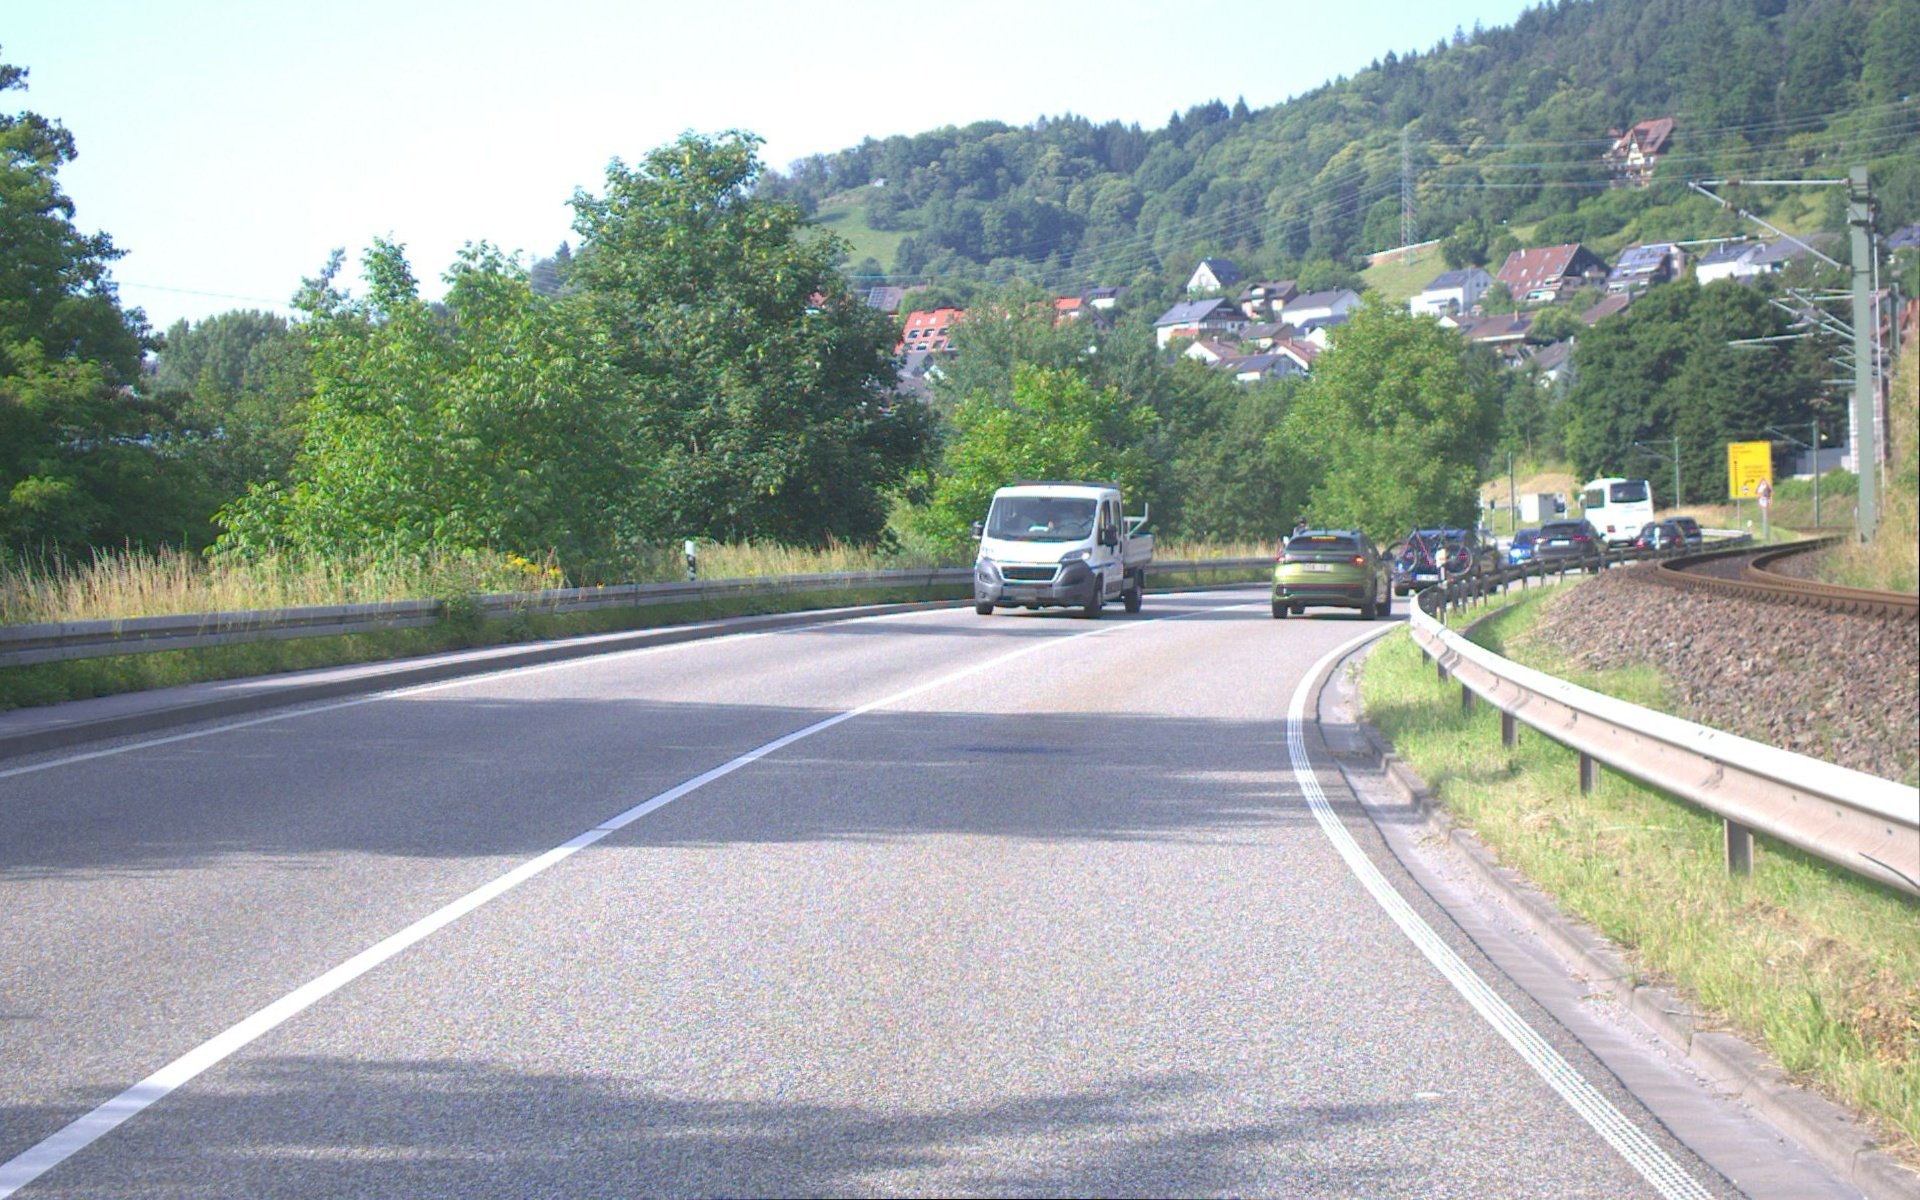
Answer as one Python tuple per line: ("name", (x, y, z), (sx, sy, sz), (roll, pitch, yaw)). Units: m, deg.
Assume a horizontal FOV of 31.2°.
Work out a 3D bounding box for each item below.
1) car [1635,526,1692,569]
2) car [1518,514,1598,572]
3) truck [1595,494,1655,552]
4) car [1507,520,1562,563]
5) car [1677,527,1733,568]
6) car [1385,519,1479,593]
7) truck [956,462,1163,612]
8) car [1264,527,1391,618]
("car", (25.613, -1.918, 125.126), (1.850, 1.521, 3.660), (0, 1, 14))
("car", (17.654, -1.689, 101.428), (1.881, 1.681, 3.997), (0, 1, 16))
("truck", (36.094, -4.179, 186.775), (2.712, 3.073, 6.107), (1, 1, 7))
("car", (21.370, -2.179, 127.780), (1.752, 1.561, 3.998), (0, 1, 13))
("car", (33.078, -2.315, 152.635), (2.065, 1.805, 3.997), (0, 1, 18))
("car", (10.252, -0.963, 74.483), (1.668, 1.554, 3.998), (0, 1, 13))
("truck", (1.791, -1.054, 58.639), (2.158, 2.357, 6.742), (2, 1, 13))
("car", (6.332, -0.491, 58.967), (1.715, 1.450, 3.998), (2, 1, 12))
